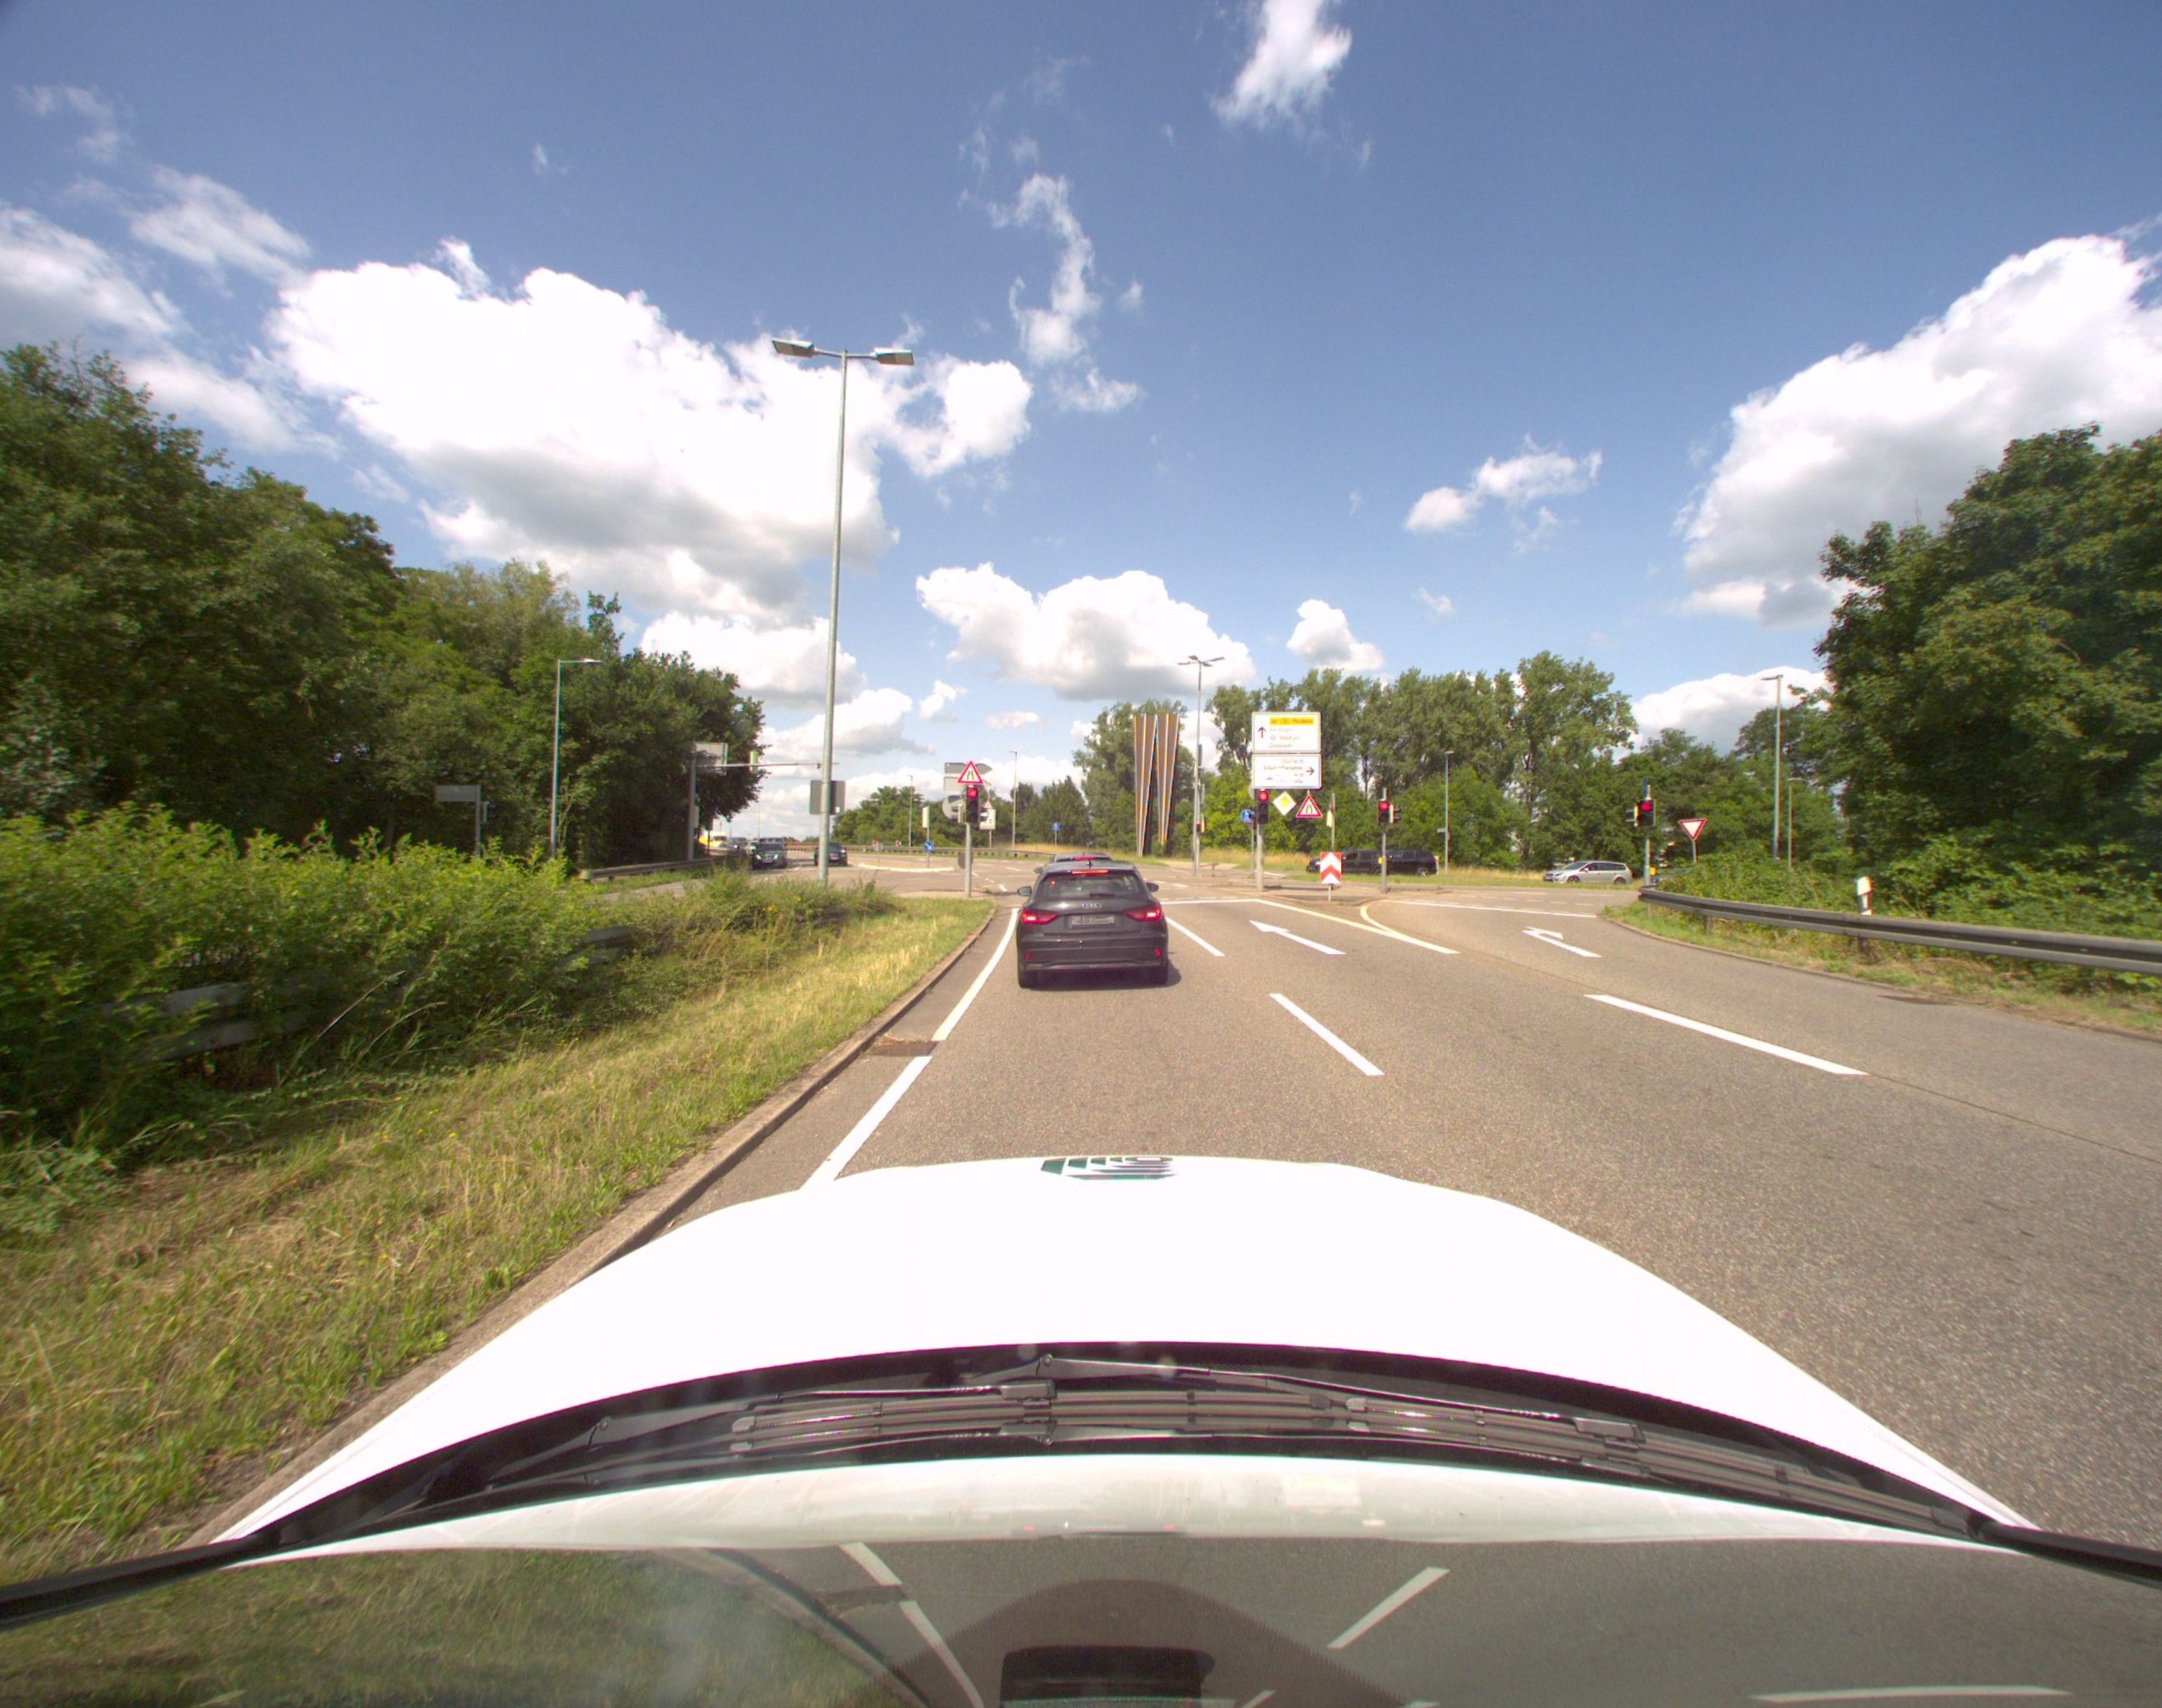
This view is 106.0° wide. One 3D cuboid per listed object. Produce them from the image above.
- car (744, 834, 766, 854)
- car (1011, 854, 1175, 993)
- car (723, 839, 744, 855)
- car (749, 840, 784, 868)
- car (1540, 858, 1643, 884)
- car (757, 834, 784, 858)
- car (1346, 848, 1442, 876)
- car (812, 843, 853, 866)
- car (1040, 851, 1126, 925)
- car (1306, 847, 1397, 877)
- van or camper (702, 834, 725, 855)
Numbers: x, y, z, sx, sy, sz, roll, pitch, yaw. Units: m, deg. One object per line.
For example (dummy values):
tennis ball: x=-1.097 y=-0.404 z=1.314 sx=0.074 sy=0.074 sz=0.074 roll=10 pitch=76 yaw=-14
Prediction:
car: x=-33.587 y=-1.006 z=83.971 sx=1.852 sy=1.978 sz=4.291 roll=0 pitch=0 yaw=-25
car: x=0.159 y=0.748 z=10.701 sx=1.720 sy=1.404 sz=4.001 roll=-1 pitch=0 yaw=1
car: x=-39.848 y=-0.783 z=93.362 sx=1.853 sy=1.705 sz=4.288 roll=0 pitch=0 yaw=-27
car: x=-18.840 y=0.049 z=48.897 sx=1.845 sy=1.618 sz=3.973 roll=0 pitch=-1 yaw=-20
car: x=27.118 y=0.888 z=43.332 sx=4.462 sy=1.320 sz=1.735 roll=0 pitch=0 yaw=-3
car: x=-23.967 y=-0.632 z=62.881 sx=1.849 sy=1.802 sz=4.297 roll=0 pitch=0 yaw=-20
car: x=17.924 y=0.471 z=46.752 sx=4.832 sy=1.545 sz=1.737 roll=0 pitch=0 yaw=-1
car: x=-16.147 y=-0.004 z=52.802 sx=1.957 sy=1.418 sz=3.937 roll=1 pitch=0 yaw=-26
car: x=-0.050 y=0.680 z=18.471 sx=1.722 sy=1.423 sz=3.840 roll=-2 pitch=0 yaw=-3
car: x=14.206 y=0.407 z=42.879 sx=4.254 sy=1.545 sz=1.737 roll=0 pitch=0 yaw=-1
van or camper: x=-47.981 y=-1.235 z=106.260 sx=2.006 sy=2.683 sz=6.796 roll=0 pitch=0 yaw=-30
